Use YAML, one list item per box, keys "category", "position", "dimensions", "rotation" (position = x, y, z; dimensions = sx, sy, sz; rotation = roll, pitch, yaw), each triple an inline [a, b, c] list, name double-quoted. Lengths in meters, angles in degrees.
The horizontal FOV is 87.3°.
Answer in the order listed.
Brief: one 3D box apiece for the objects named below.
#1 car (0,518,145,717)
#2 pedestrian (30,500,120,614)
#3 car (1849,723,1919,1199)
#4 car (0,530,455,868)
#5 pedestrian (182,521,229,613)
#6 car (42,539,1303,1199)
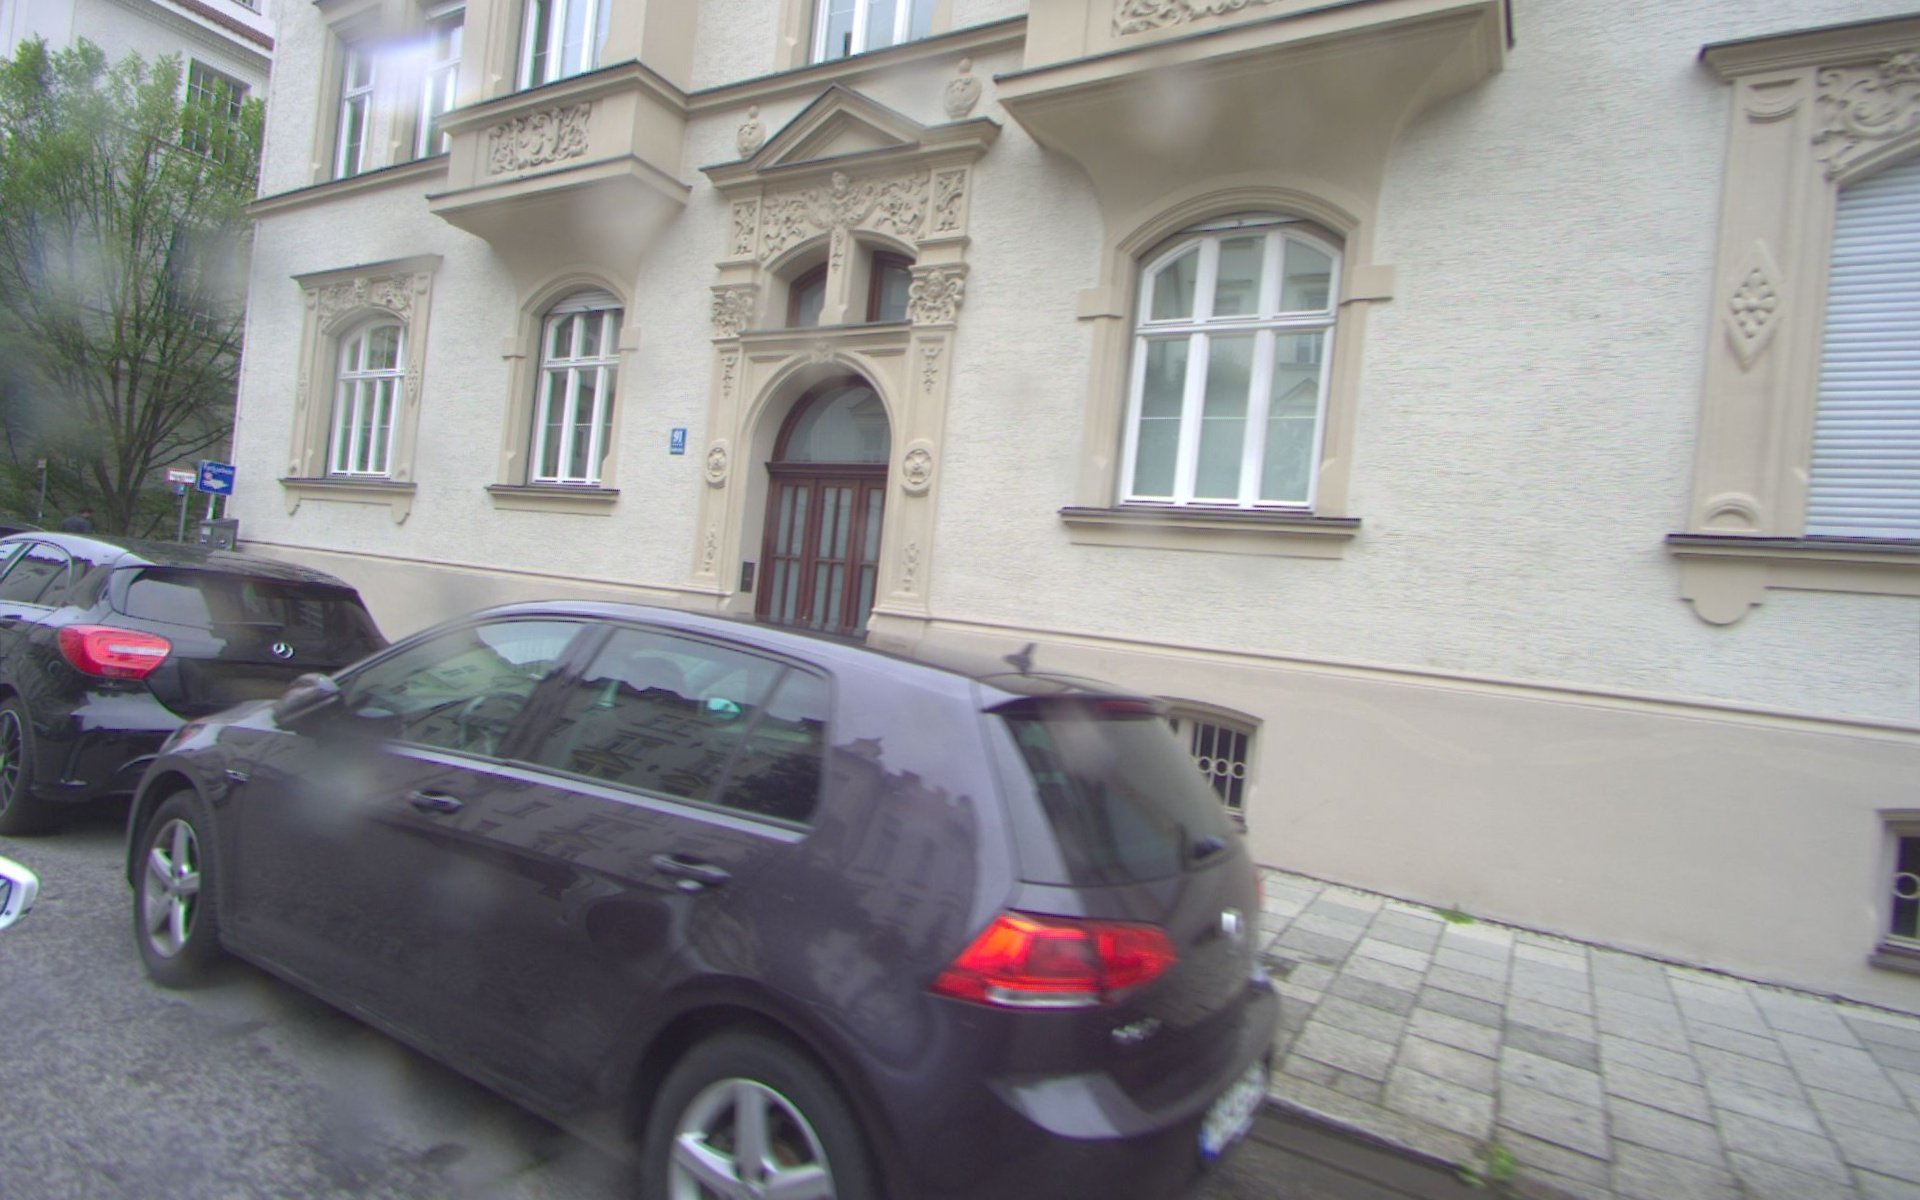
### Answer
- category: "car"
  position: [-9.263, -0.069, 8.765]
  dimensions: [4.011, 1.515, 1.797]
  rotation: [7, -3, 28]
- category: "pedestrian"
  position: [-15.298, -0.730, 17.397]
  dimensions: [0.667, 1.839, 0.861]
  rotation: [7, 0, 30]
- category: "car"
  position: [3.529, 1.183, 0.797]
  dimensions: [3.892, 1.534, 1.745]
  rotation: [6, -1, 31]
- category: "car"
  position: [-5.108, 0.388, 6.086]
  dimensions: [3.956, 1.413, 1.746]
  rotation: [5, -3, 32]
- category: "pedestrian"
  position: [-15.429, -0.672, 20.574]
  dimensions: [0.548, 1.816, 0.570]
  rotation: [6, 1, -28]
- category: "car"
  position: [-1.152, 0.741, 3.296]
  dimensions: [3.934, 1.434, 1.644]
  rotation: [6, -2, 32]
